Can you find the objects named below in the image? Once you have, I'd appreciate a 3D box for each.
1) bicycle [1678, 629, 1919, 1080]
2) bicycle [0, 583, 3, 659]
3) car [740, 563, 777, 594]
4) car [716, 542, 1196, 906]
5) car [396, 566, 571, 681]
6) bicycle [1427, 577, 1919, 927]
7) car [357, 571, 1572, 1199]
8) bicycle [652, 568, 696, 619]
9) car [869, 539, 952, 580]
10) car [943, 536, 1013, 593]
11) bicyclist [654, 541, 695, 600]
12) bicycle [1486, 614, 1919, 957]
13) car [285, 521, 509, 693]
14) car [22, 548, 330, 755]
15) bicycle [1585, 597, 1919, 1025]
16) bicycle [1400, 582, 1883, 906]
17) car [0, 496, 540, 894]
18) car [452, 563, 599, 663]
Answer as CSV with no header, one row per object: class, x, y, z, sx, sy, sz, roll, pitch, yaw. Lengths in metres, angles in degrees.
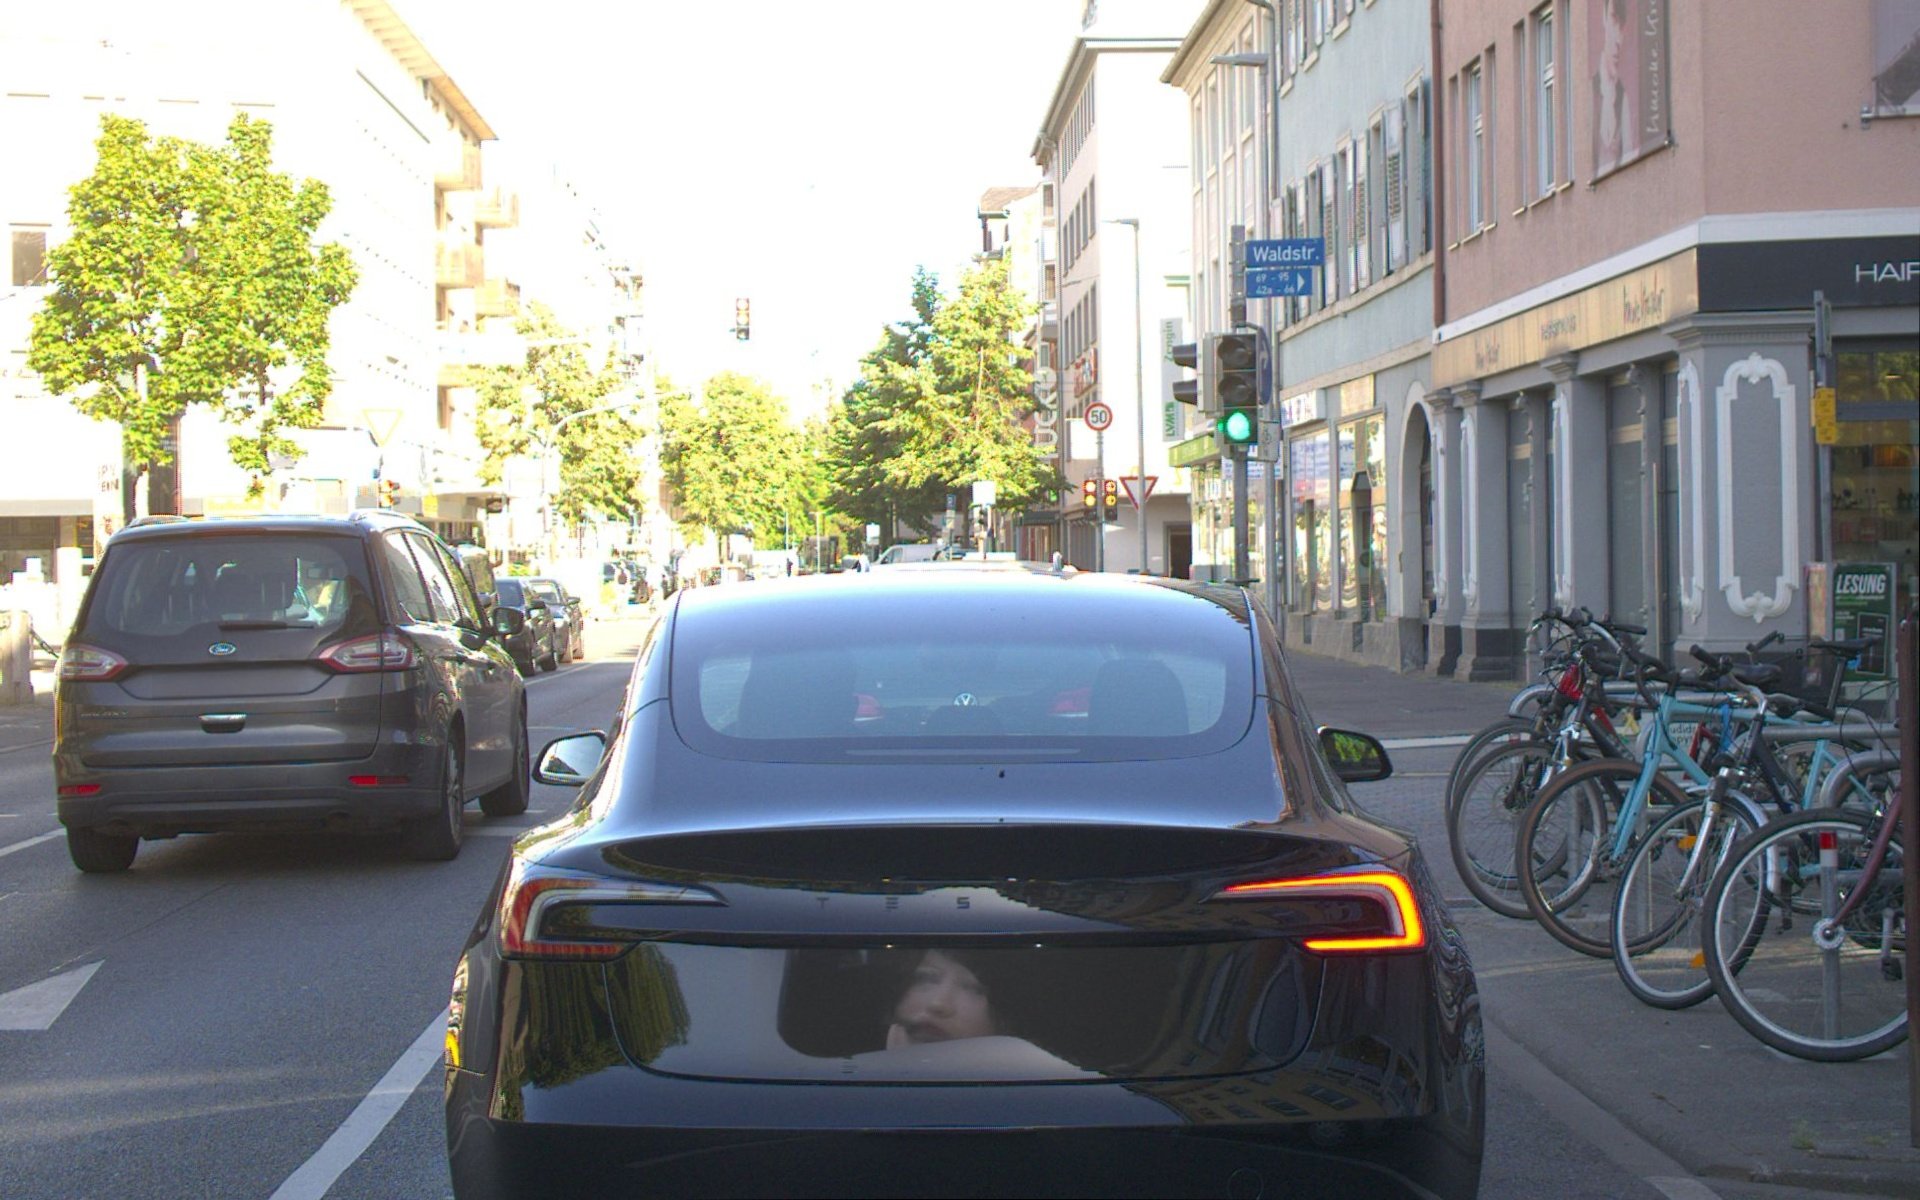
bicycle,3.031,0.681,9.652,1.886,1.189,0.691,-2,1,5
bicycle,-15.714,0.332,51.896,2.323,1.152,0.843,0,1,-5
car,-10.944,-1.176,186.741,1.993,1.631,4.001,0,1,-3
car,-0.084,0.481,16.356,1.993,1.507,4.175,0,1,-2
car,-6.748,0.290,49.097,1.993,1.405,4.675,-4,1,-3
bicycle,2.738,0.573,13.313,1.746,1.262,0.781,-2,1,3
car,-0.012,0.671,7.242,1.848,1.450,4.000,0,1,-1
bicycle,-7.896,-0.197,95.196,1.111,1.340,4.001,0,1,-3
car,-2.422,-1.974,167.220,3.986,2.007,2.000,0,1,-2
car,0.499,-1.033,100.524,1.993,1.623,4.000,0,1,0
bicyclist,-7.914,-0.812,95.280,1.126,1.623,0.965,0,1,-3
bicycle,2.805,0.637,12.135,1.798,1.120,0.781,-2,1,5
car,-6.703,0.039,41.389,1.834,1.838,4.674,-4,1,0
car,-6.730,0.380,29.935,1.807,1.550,4.310,-4,1,-3
bicycle,2.885,0.633,10.783,1.722,1.263,0.790,-2,1,5
bicycle,2.808,0.586,14.344,1.862,1.253,0.832,-2,1,5
car,-3.415,0.391,17.901,1.993,1.766,4.729,-1,1,-2
car,-7.113,0.180,56.689,1.993,1.431,4.675,-4,1,-3
